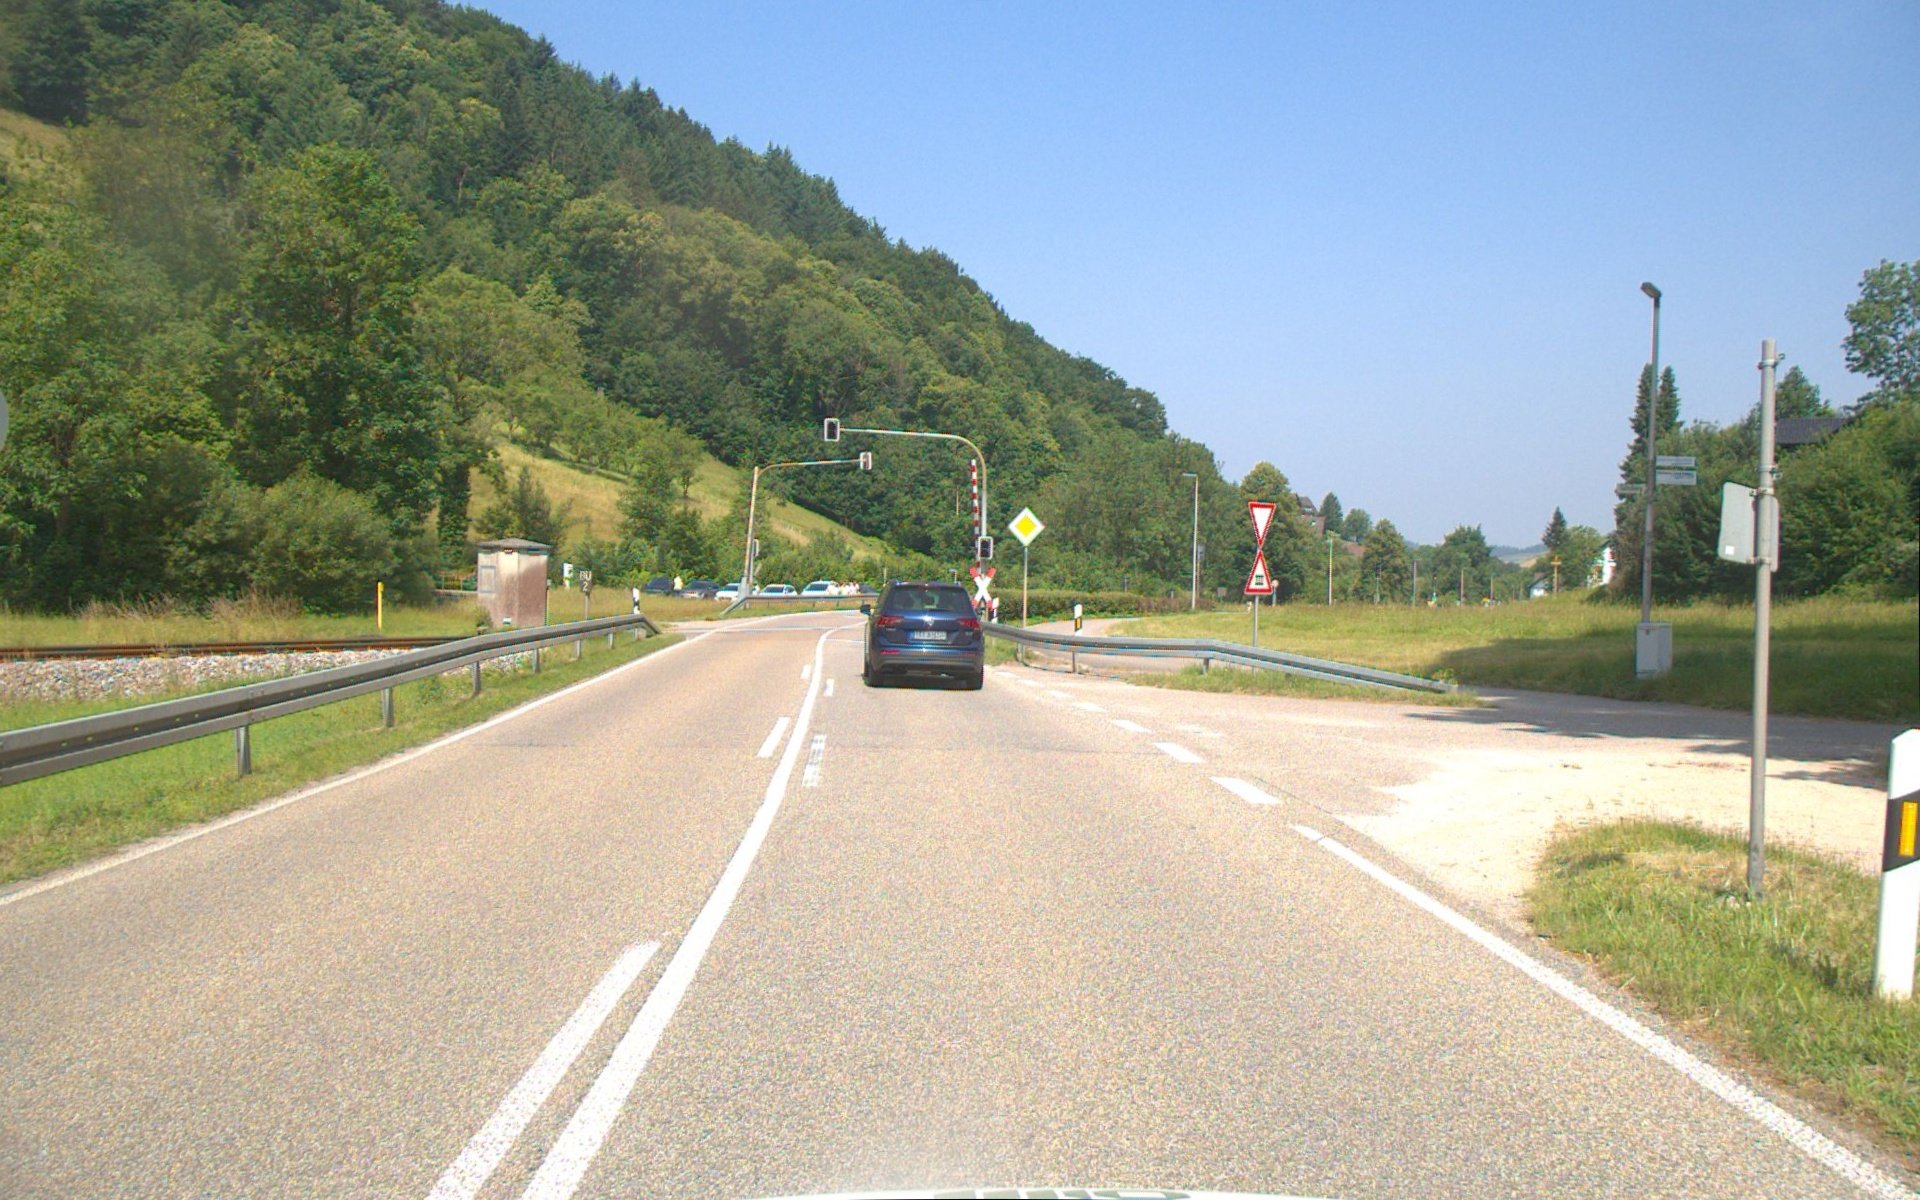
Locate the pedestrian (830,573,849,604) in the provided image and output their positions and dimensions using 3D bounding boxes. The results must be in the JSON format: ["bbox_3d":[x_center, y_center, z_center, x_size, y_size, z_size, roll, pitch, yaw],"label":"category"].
[{"bbox_3d":[-7.065,-0.681,96.770,0.756,1.827,0.790,0,0,39],"label":"pedestrian"}]

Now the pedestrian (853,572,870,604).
[{"bbox_3d":[-5.747,-0.697,96.841,0.765,1.891,0.638,0,0,-45],"label":"pedestrian"}]

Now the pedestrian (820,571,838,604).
[{"bbox_3d":[-7.599,-0.717,95.945,0.772,1.874,0.698,0,0,23],"label":"pedestrian"}]

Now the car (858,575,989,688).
[{"bbox_3d":[-0.667,0.469,26.628,1.817,1.678,4.135,0,0,-5],"label":"car"}]

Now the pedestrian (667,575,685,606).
[{"bbox_3d":[-16.891,-0.580,98.336,0.935,1.826,0.999,0,0,-3],"label":"pedestrian"}]

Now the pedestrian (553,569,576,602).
[{"bbox_3d":[-24.117,-0.852,100.800,1.104,2.004,0.861,0,0,27],"label":"pedestrian"}]

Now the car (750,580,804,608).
[{"bbox_3d":[-11.469,-0.370,103.942,1.951,1.670,4.906,0,0,12],"label":"car"}]

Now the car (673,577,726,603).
[{"bbox_3d":[-16.477,-0.645,104.790,1.951,1.527,4.525,3,0,10],"label":"car"}]

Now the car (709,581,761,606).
[{"bbox_3d":[-14.121,-0.373,104.014,1.951,1.527,4.525,0,0,10],"label":"car"}]

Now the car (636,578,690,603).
[{"bbox_3d":[-18.859,-0.610,105.374,1.951,1.527,4.525,0,0,10],"label":"car"}]

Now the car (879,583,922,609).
[{"bbox_3d":[-3.630,-0.229,101.426,1.787,1.527,4.281,0,0,10],"label":"car"}]

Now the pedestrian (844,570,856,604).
[{"bbox_3d":[-6.374,-0.766,96.195,0.646,1.989,0.533,0,0,2],"label":"pedestrian"}]
